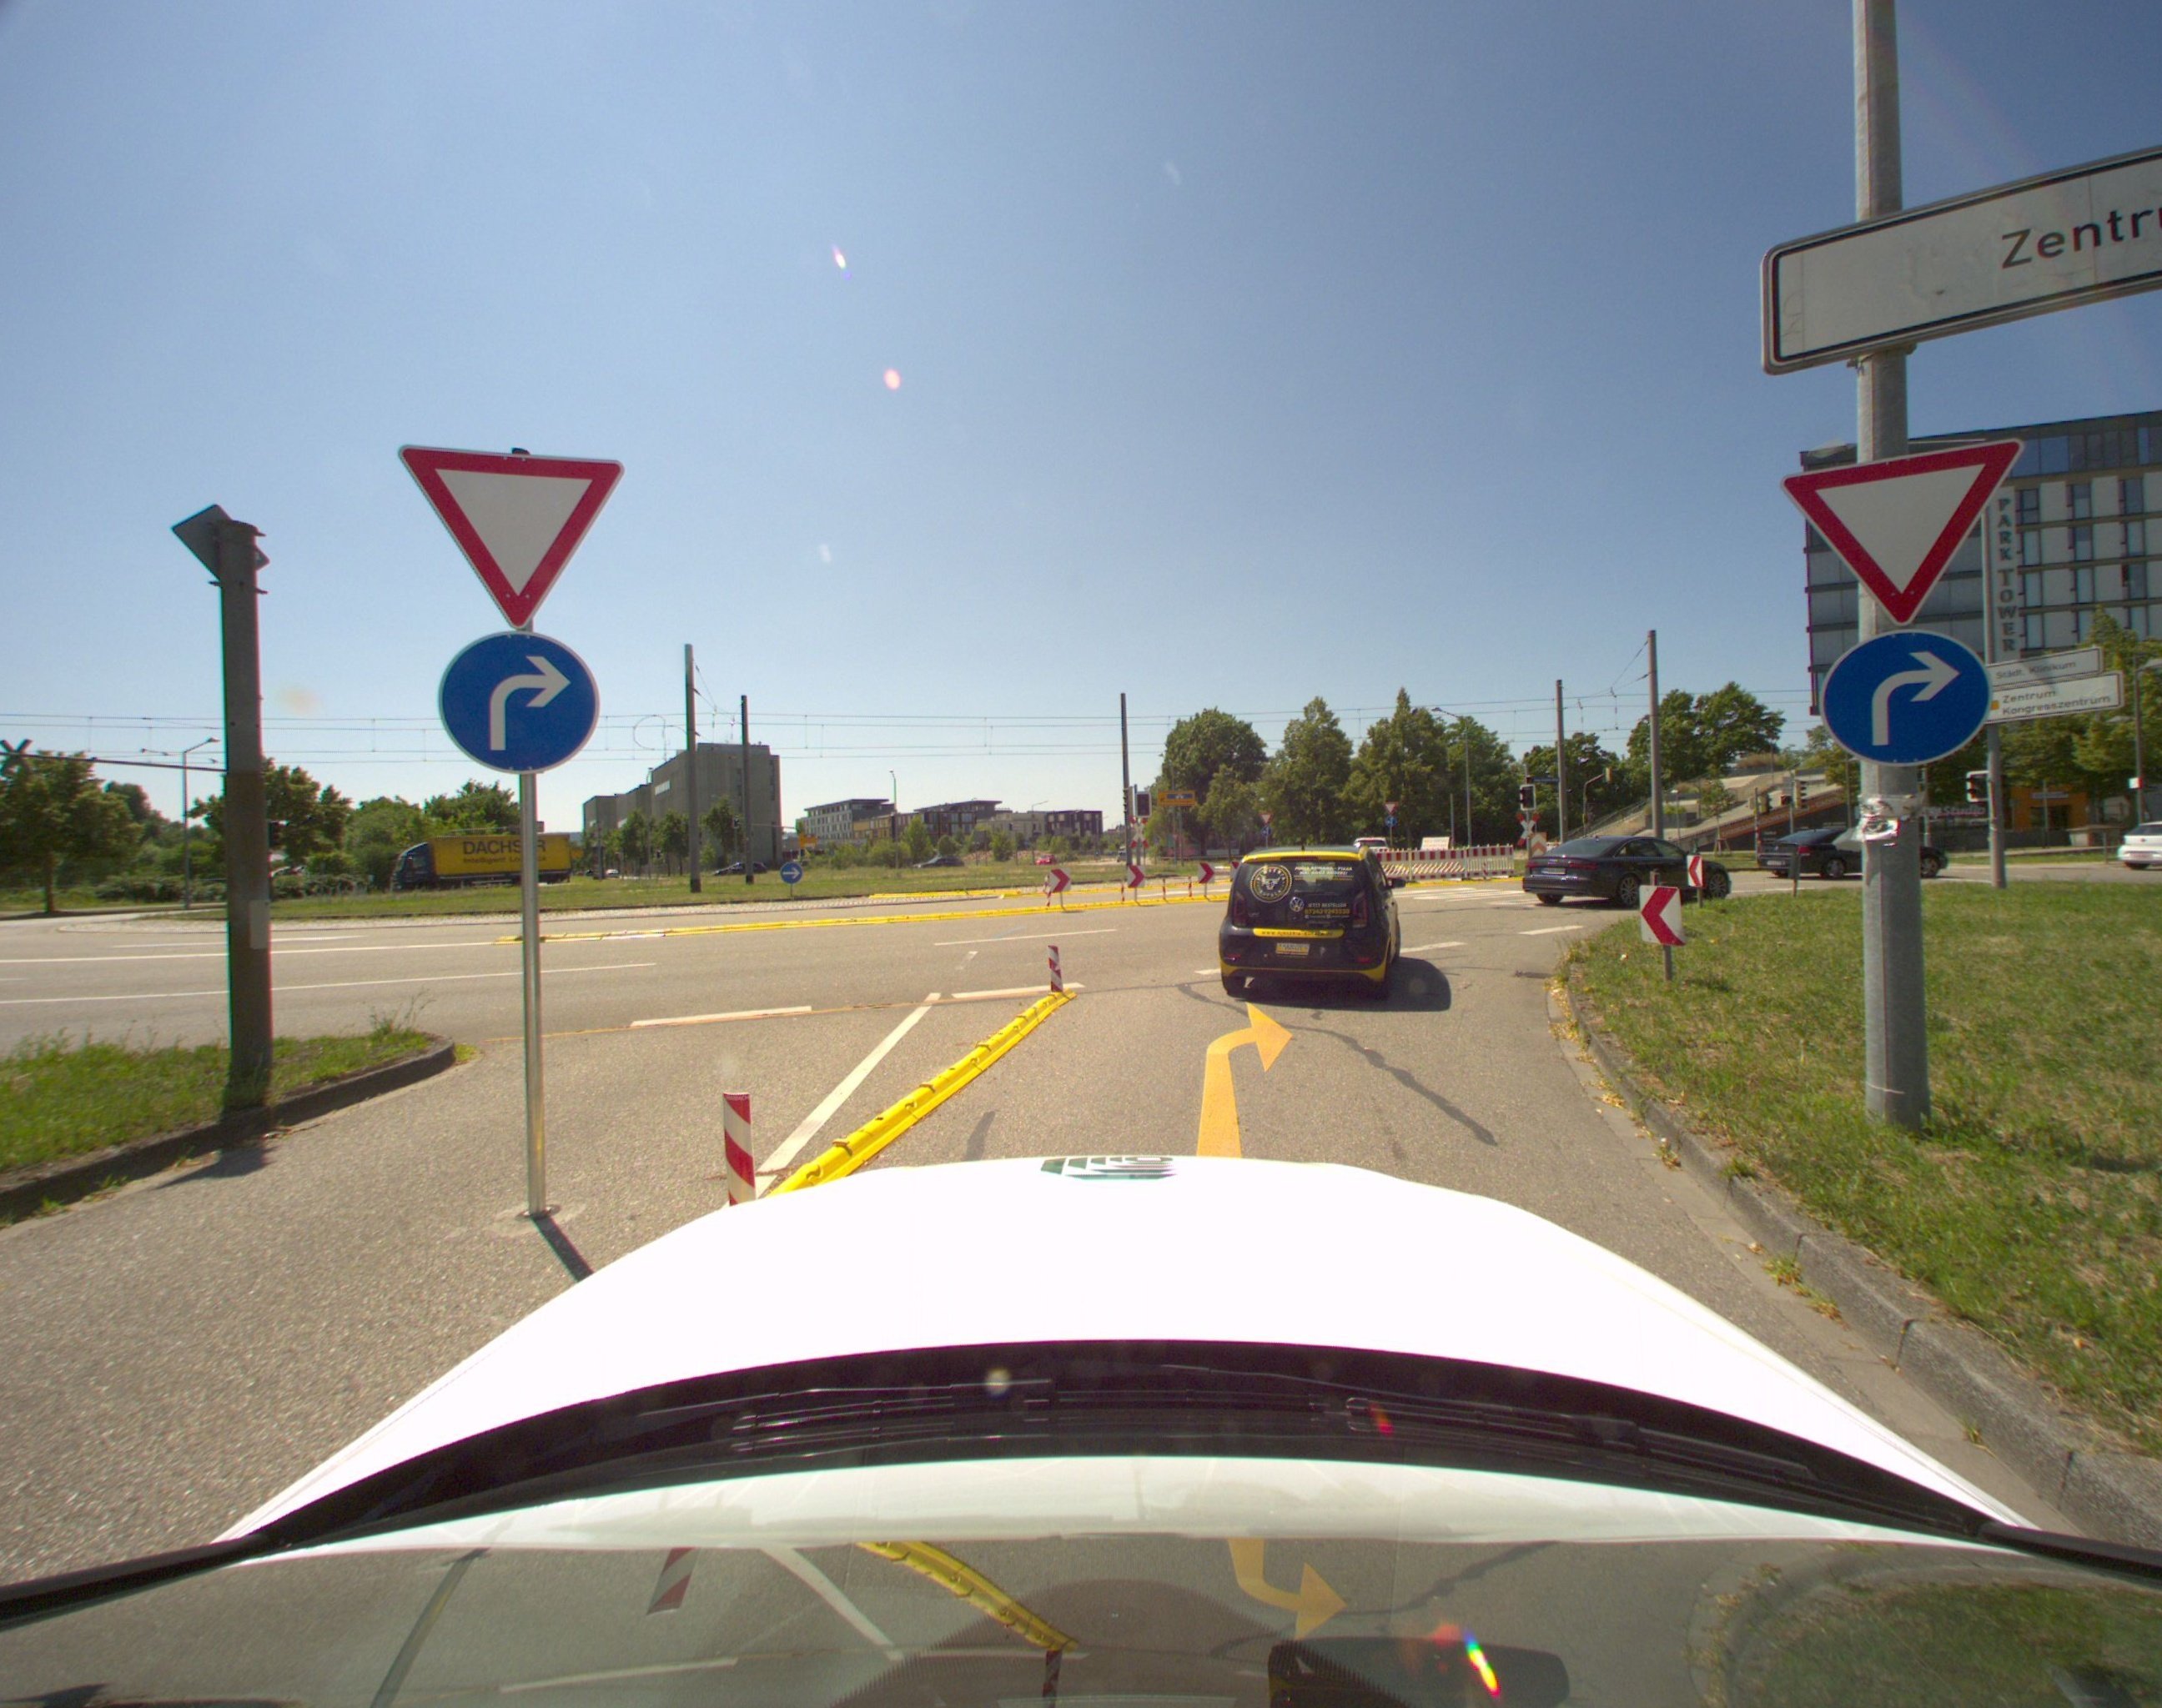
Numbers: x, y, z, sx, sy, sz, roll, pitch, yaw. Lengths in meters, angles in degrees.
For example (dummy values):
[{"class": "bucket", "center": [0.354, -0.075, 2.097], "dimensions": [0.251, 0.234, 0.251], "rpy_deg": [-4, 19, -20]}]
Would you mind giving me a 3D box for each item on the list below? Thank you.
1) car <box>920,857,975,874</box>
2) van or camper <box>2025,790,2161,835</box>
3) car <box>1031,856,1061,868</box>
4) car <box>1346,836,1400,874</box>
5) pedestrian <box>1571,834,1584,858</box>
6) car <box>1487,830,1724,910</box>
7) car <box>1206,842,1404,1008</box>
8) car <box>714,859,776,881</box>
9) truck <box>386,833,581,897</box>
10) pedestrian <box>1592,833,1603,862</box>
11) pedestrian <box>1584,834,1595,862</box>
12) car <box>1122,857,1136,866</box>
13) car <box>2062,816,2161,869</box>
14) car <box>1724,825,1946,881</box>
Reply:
[{"class": "car", "center": [-12.189, 1.045, 74.342], "dimensions": [4.499, 1.319, 1.980], "rpy_deg": [-2, 0, -33]}, {"class": "van or camper", "center": [71.216, -2.893, 56.986], "dimensions": [6.724, 2.822, 2.389], "rpy_deg": [-2, 0, 9]}, {"class": "car", "center": [-3.782, 0.847, 88.188], "dimensions": [1.478, 1.089, 3.543], "rpy_deg": [-2, 0, 34]}, {"class": "car", "center": [12.557, 0.018, 34.893], "dimensions": [1.976, 1.486, 4.390], "rpy_deg": [-2, 0, 21]}, {"class": "pedestrian", "center": [30.668, -0.509, 50.297], "dimensions": [0.517, 1.429, 0.353], "rpy_deg": [-2, 0, 8]}, {"class": "car", "center": [11.073, 0.279, 17.181], "dimensions": [4.657, 1.449, 1.984], "rpy_deg": [-1, 0, -24]}, {"class": "car", "center": [2.740, 0.615, 9.276], "dimensions": [1.604, 1.451, 4.009], "rpy_deg": [-1, 0, 23]}, {"class": "car", "center": [-25.887, 1.223, 62.884], "dimensions": [4.070, 1.461, 1.709], "rpy_deg": [-2, 0, -40]}, {"class": "truck", "center": [-38.113, 0.603, 52.385], "dimensions": [2.673, 3.658, 9.676], "rpy_deg": [-2, 0, 41]}, {"class": "pedestrian", "center": [32.149, -0.402, 50.663], "dimensions": [0.445, 1.739, 0.319], "rpy_deg": [-2, 0, 11]}, {"class": "pedestrian", "center": [31.667, -0.395, 50.742], "dimensions": [0.445, 1.739, 0.292], "rpy_deg": [-2, 0, 11]}, {"class": "car", "center": [7.164, 1.107, 121.355], "dimensions": [1.648, 1.372, 3.039], "rpy_deg": [-2, 0, 9]}, {"class": "car", "center": [31.678, -0.361, 23.454], "dimensions": [4.315, 1.449, 1.860], "rpy_deg": [-1, 0, 6]}, {"class": "car", "center": [21.678, -0.029, 23.555], "dimensions": [4.732, 1.449, 1.998], "rpy_deg": [-1, 0, -3]}]
